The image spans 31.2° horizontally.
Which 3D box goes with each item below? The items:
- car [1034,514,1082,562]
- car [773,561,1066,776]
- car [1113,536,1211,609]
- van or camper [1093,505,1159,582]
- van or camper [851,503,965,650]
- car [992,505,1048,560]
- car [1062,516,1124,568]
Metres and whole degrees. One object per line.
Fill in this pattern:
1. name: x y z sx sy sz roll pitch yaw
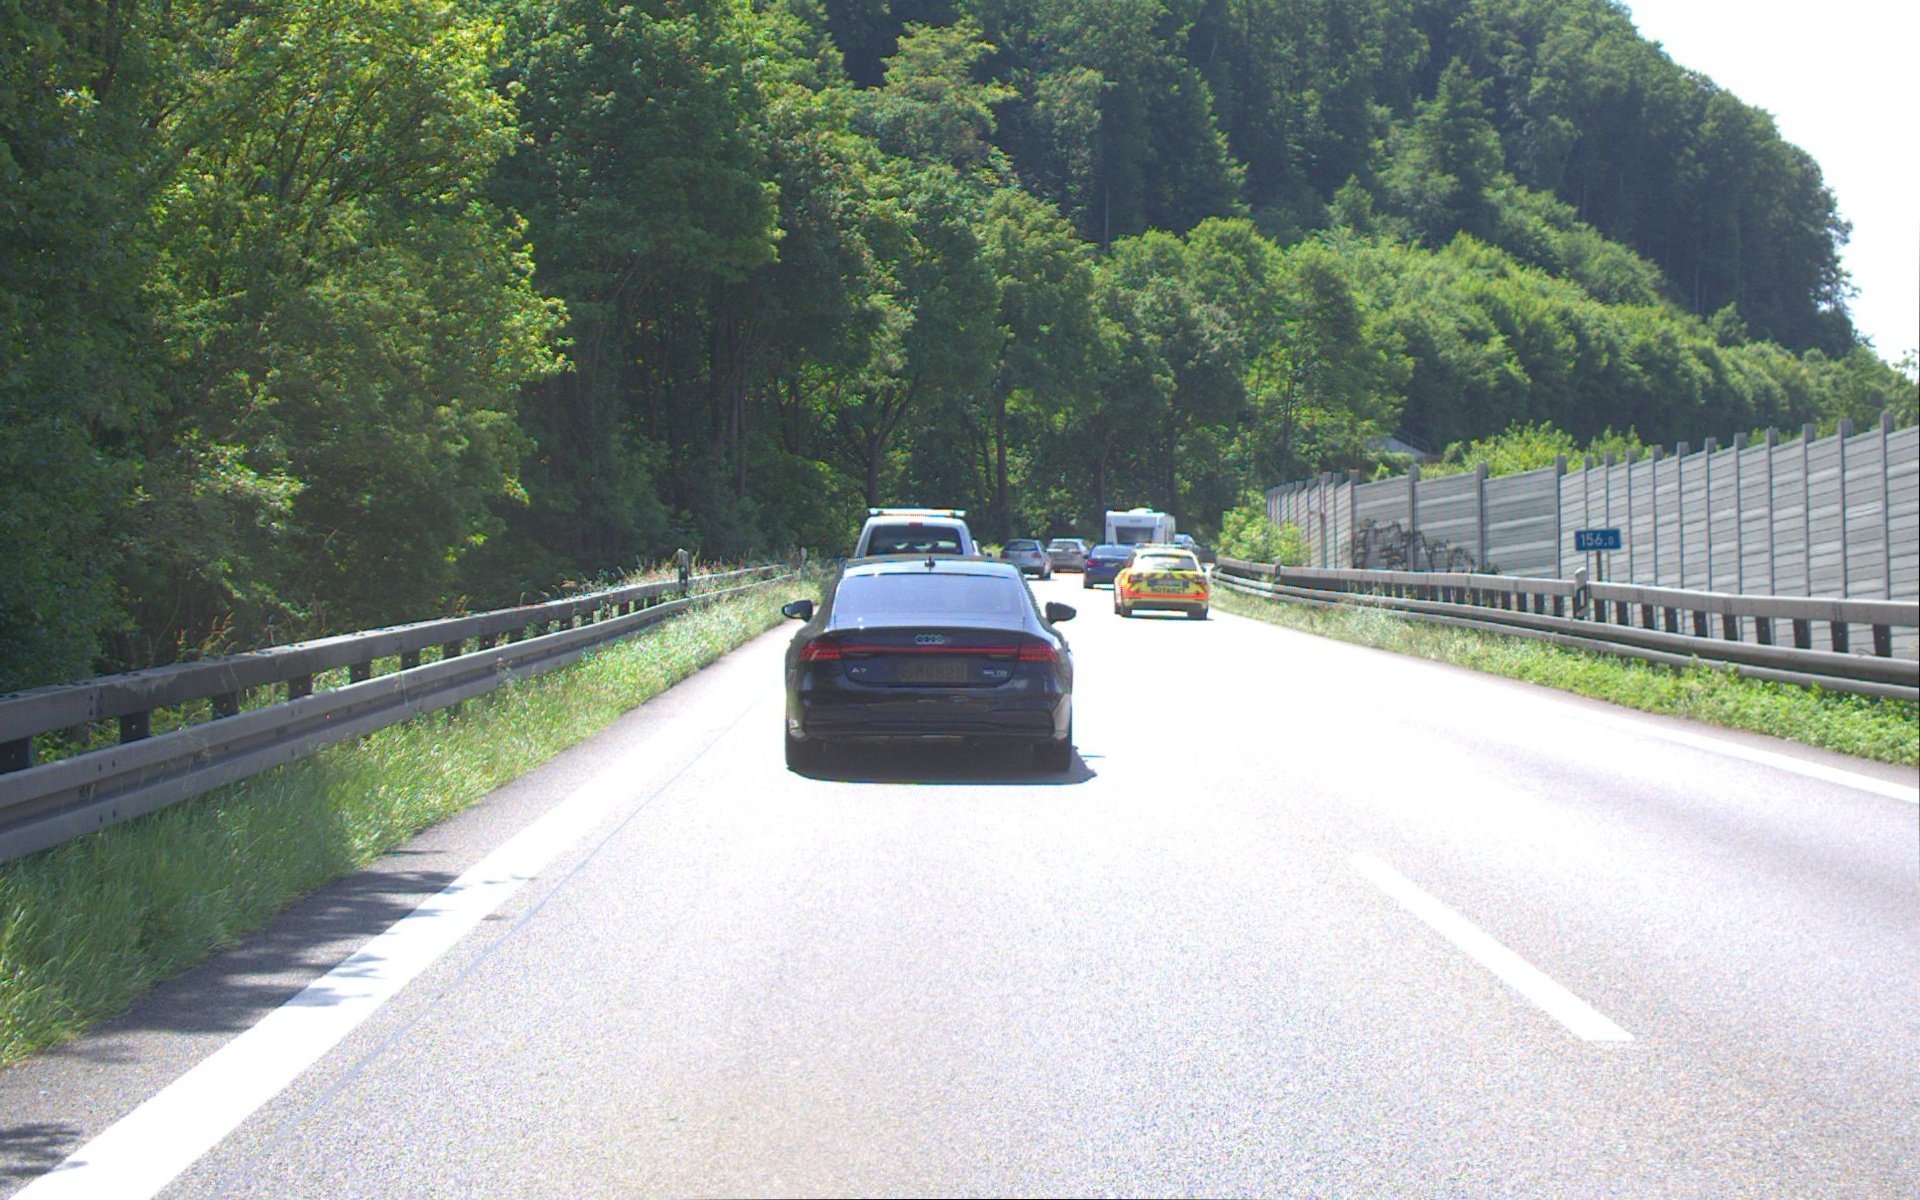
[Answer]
1. car: 4.188 -2.629 146.193 1.994 2.007 4.000 1 1 2
2. car: -0.265 0.407 23.520 1.837 1.345 4.000 0 1 0
3. car: 4.222 -0.591 72.357 1.863 1.483 4.000 1 1 1
4. van or camper: 6.487 -2.208 134.996 2.455 2.908 6.126 1 1 2
5. van or camper: -0.653 -0.314 44.535 1.391 1.809 4.000 1 1 0
6. car: 2.250 -2.528 129.607 1.993 2.007 4.000 1 1 -1
7. car: 4.311 -1.881 111.838 1.773 1.631 4.000 1 1 -1
